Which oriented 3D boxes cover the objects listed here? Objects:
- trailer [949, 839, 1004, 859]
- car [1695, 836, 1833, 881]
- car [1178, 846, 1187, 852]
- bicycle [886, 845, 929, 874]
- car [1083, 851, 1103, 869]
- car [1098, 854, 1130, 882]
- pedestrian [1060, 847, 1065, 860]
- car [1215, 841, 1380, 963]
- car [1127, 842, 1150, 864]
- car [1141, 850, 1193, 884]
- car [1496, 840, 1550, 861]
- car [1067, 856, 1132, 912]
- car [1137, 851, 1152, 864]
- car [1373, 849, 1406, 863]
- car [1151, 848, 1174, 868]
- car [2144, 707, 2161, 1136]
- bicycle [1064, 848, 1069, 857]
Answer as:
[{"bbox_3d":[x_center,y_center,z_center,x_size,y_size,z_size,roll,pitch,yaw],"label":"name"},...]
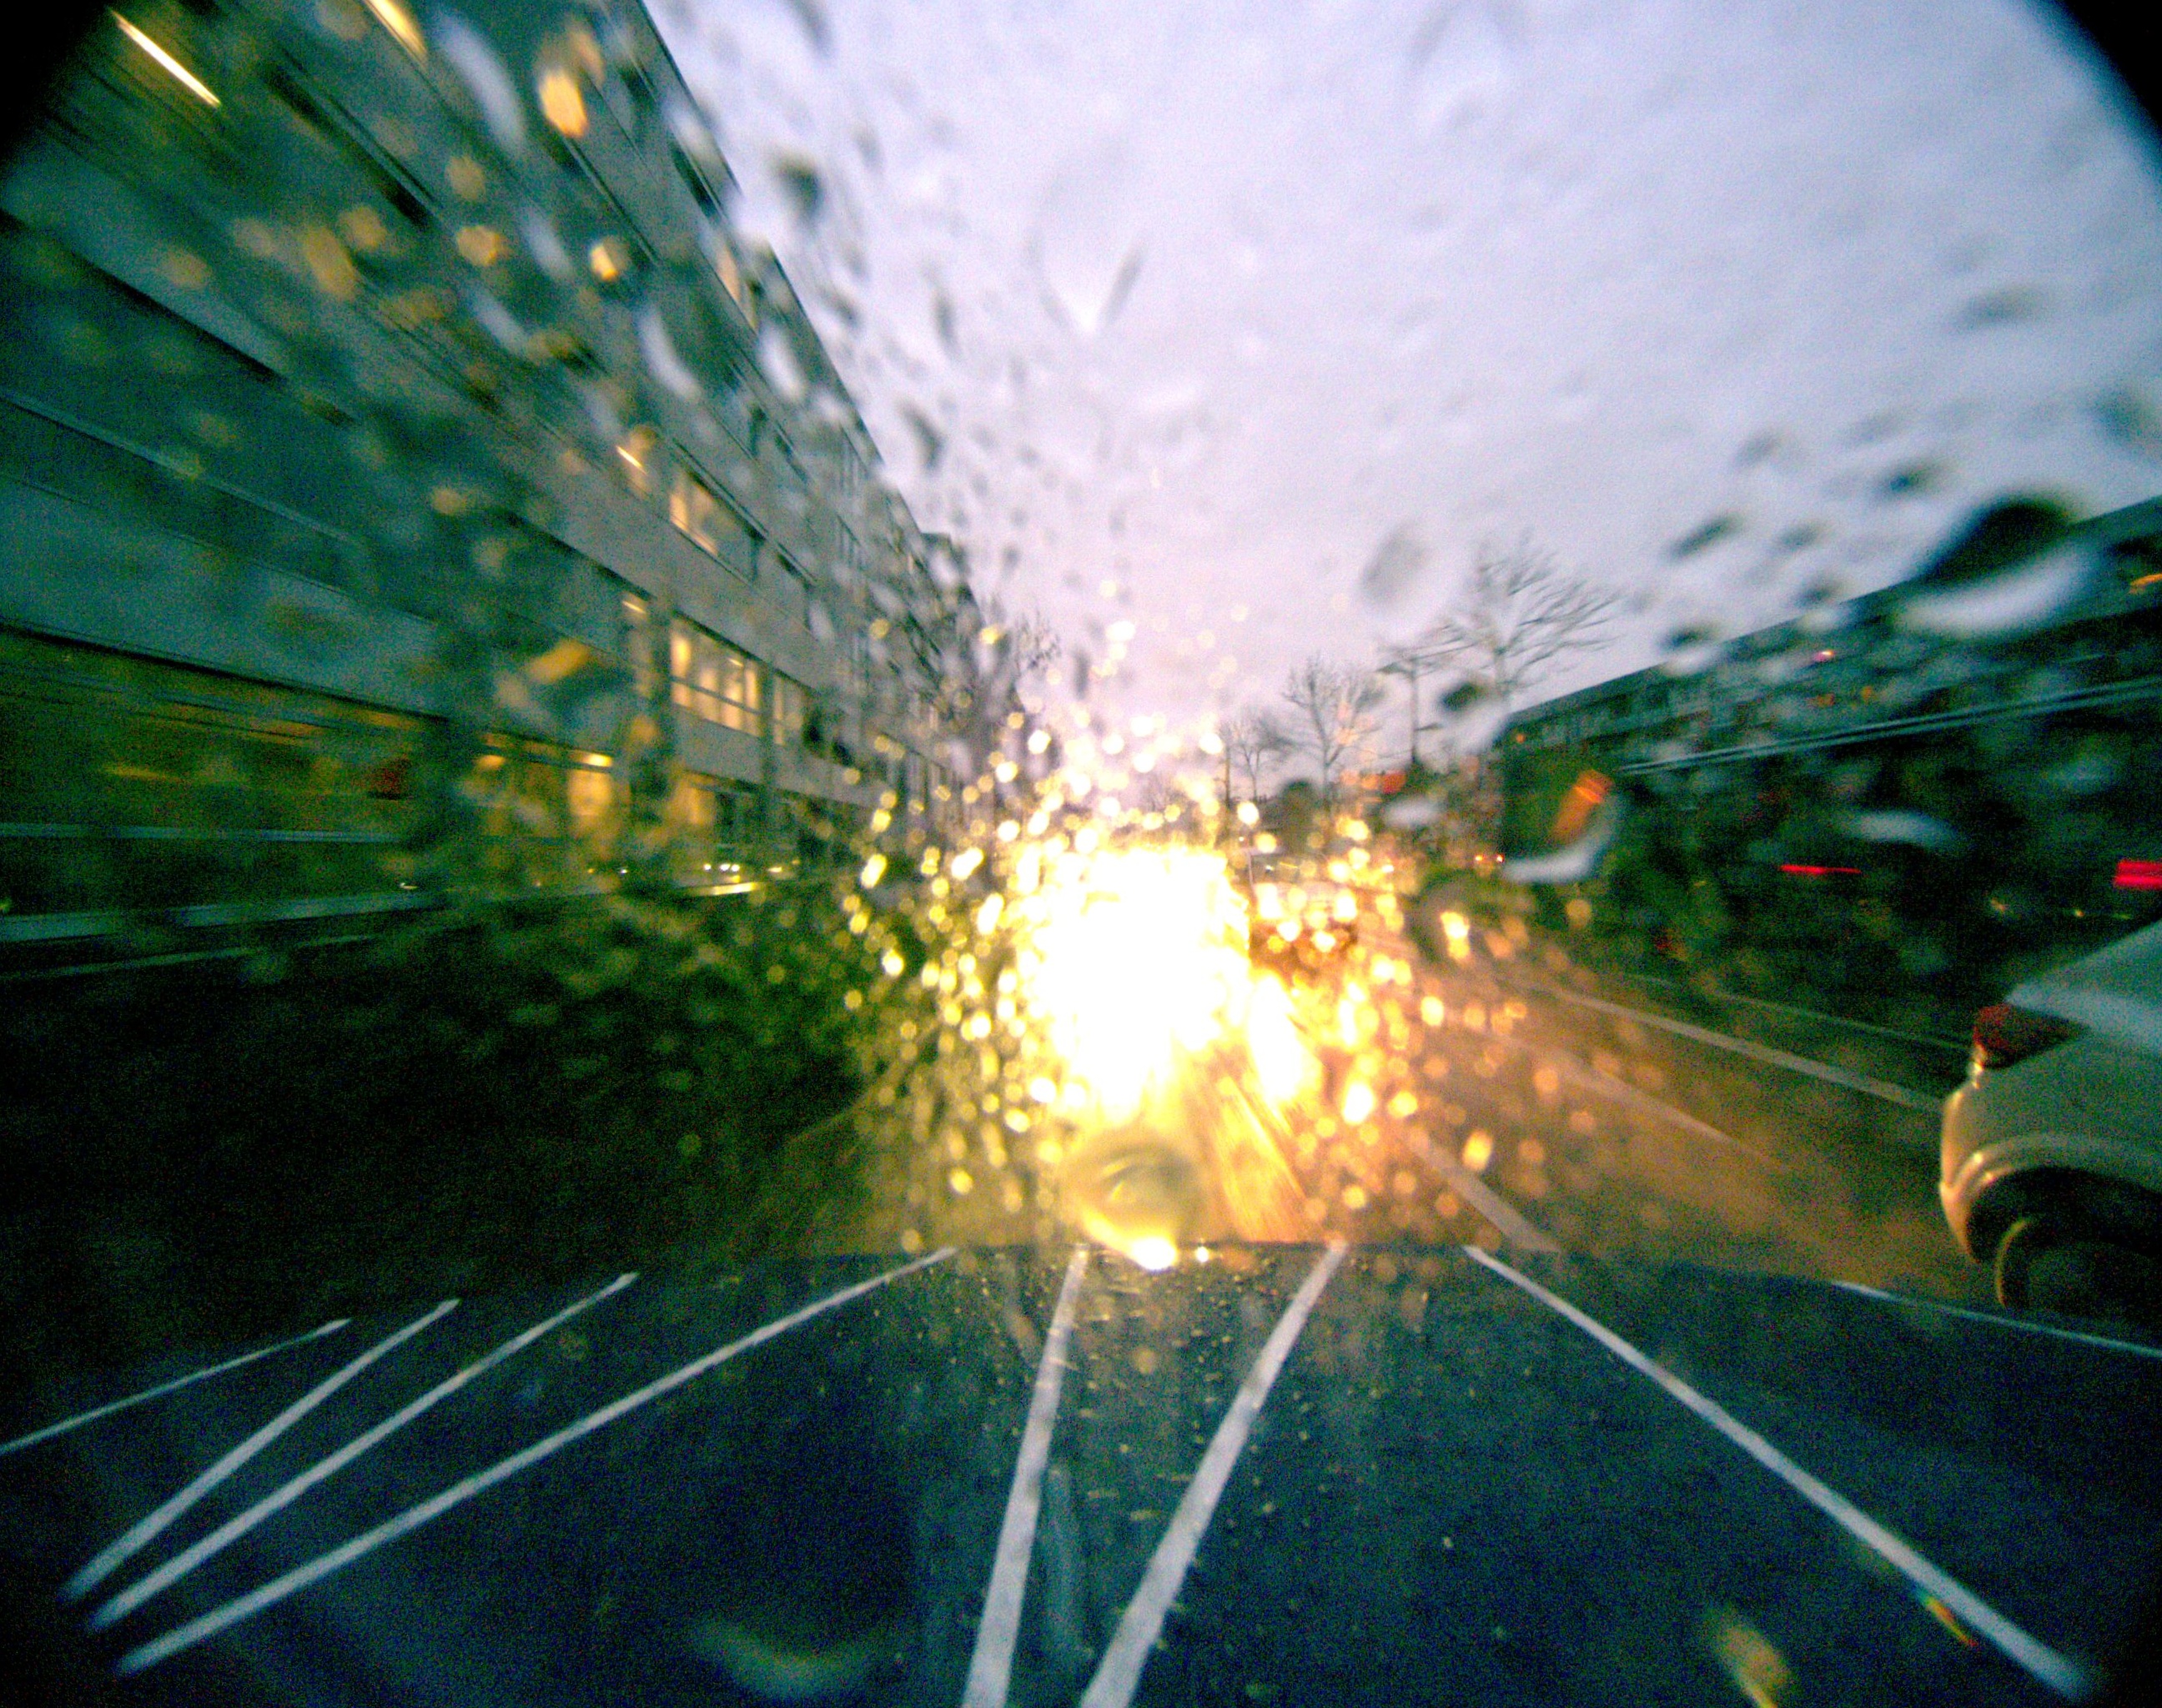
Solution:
[{"bbox_3d":[-10.408,-0.480,76.007,5.078,1.900,2.131,0,-1,6],"label":"trailer"},{"bbox_3d":[24.477,0.110,27.413,1.763,1.489,3.759,-1,1,4],"label":"car"},{"bbox_3d":[26.592,-1.264,199.216,1.527,1.630,3.747,-1,1,-4],"label":"car"},{"bbox_3d":[-8.321,0.265,36.561,0.823,1.266,2.461,4,1,17],"label":"bicycle"},{"bbox_3d":[0.994,0.498,64.664,1.595,1.386,3.486,1,0,0],"label":"car"},{"bbox_3d":[1.972,0.832,46.206,1.764,1.520,3.734,-2,1,1],"label":"car"},{"bbox_3d":[-2.547,-0.063,104.867,0.739,1.726,0.702,-2,2,-2],"label":"pedestrian"},{"bbox_3d":[3.412,0.657,12.790,2.020,1.667,4.001,-1,1,6],"label":"car"},{"bbox_3d":[5.060,-0.127,67.200,1.691,1.780,3.645,-2,1,0],"label":"car"},{"bbox_3d":[4.120,0.601,37.033,1.975,1.492,4.091,-2,0,-1],"label":"car"},{"bbox_3d":[34.030,-0.319,58.640,1.729,1.535,4.149,-2,1,-1],"label":"car"},{"bbox_3d":[0.555,0.825,22.867,1.757,1.418,3.803,-1,1,2],"label":"car"},{"bbox_3d":[7.562,0.417,91.279,1.539,1.404,3.667,-2,1,1],"label":"car"},{"bbox_3d":[30.968,0.210,76.410,1.783,1.285,4.214,-1,1,2],"label":"car"},{"bbox_3d":[7.421,0.333,69.421,1.710,1.647,3.753,-2,1,1],"label":"car"},{"bbox_3d":[6.015,0.323,1.176,1.957,2.022,4.883,-1,1,1],"label":"car"},{"bbox_3d":[-1.743,-0.200,94.261,0.552,1.109,2.165,1,2,0],"label":"bicycle"}]
